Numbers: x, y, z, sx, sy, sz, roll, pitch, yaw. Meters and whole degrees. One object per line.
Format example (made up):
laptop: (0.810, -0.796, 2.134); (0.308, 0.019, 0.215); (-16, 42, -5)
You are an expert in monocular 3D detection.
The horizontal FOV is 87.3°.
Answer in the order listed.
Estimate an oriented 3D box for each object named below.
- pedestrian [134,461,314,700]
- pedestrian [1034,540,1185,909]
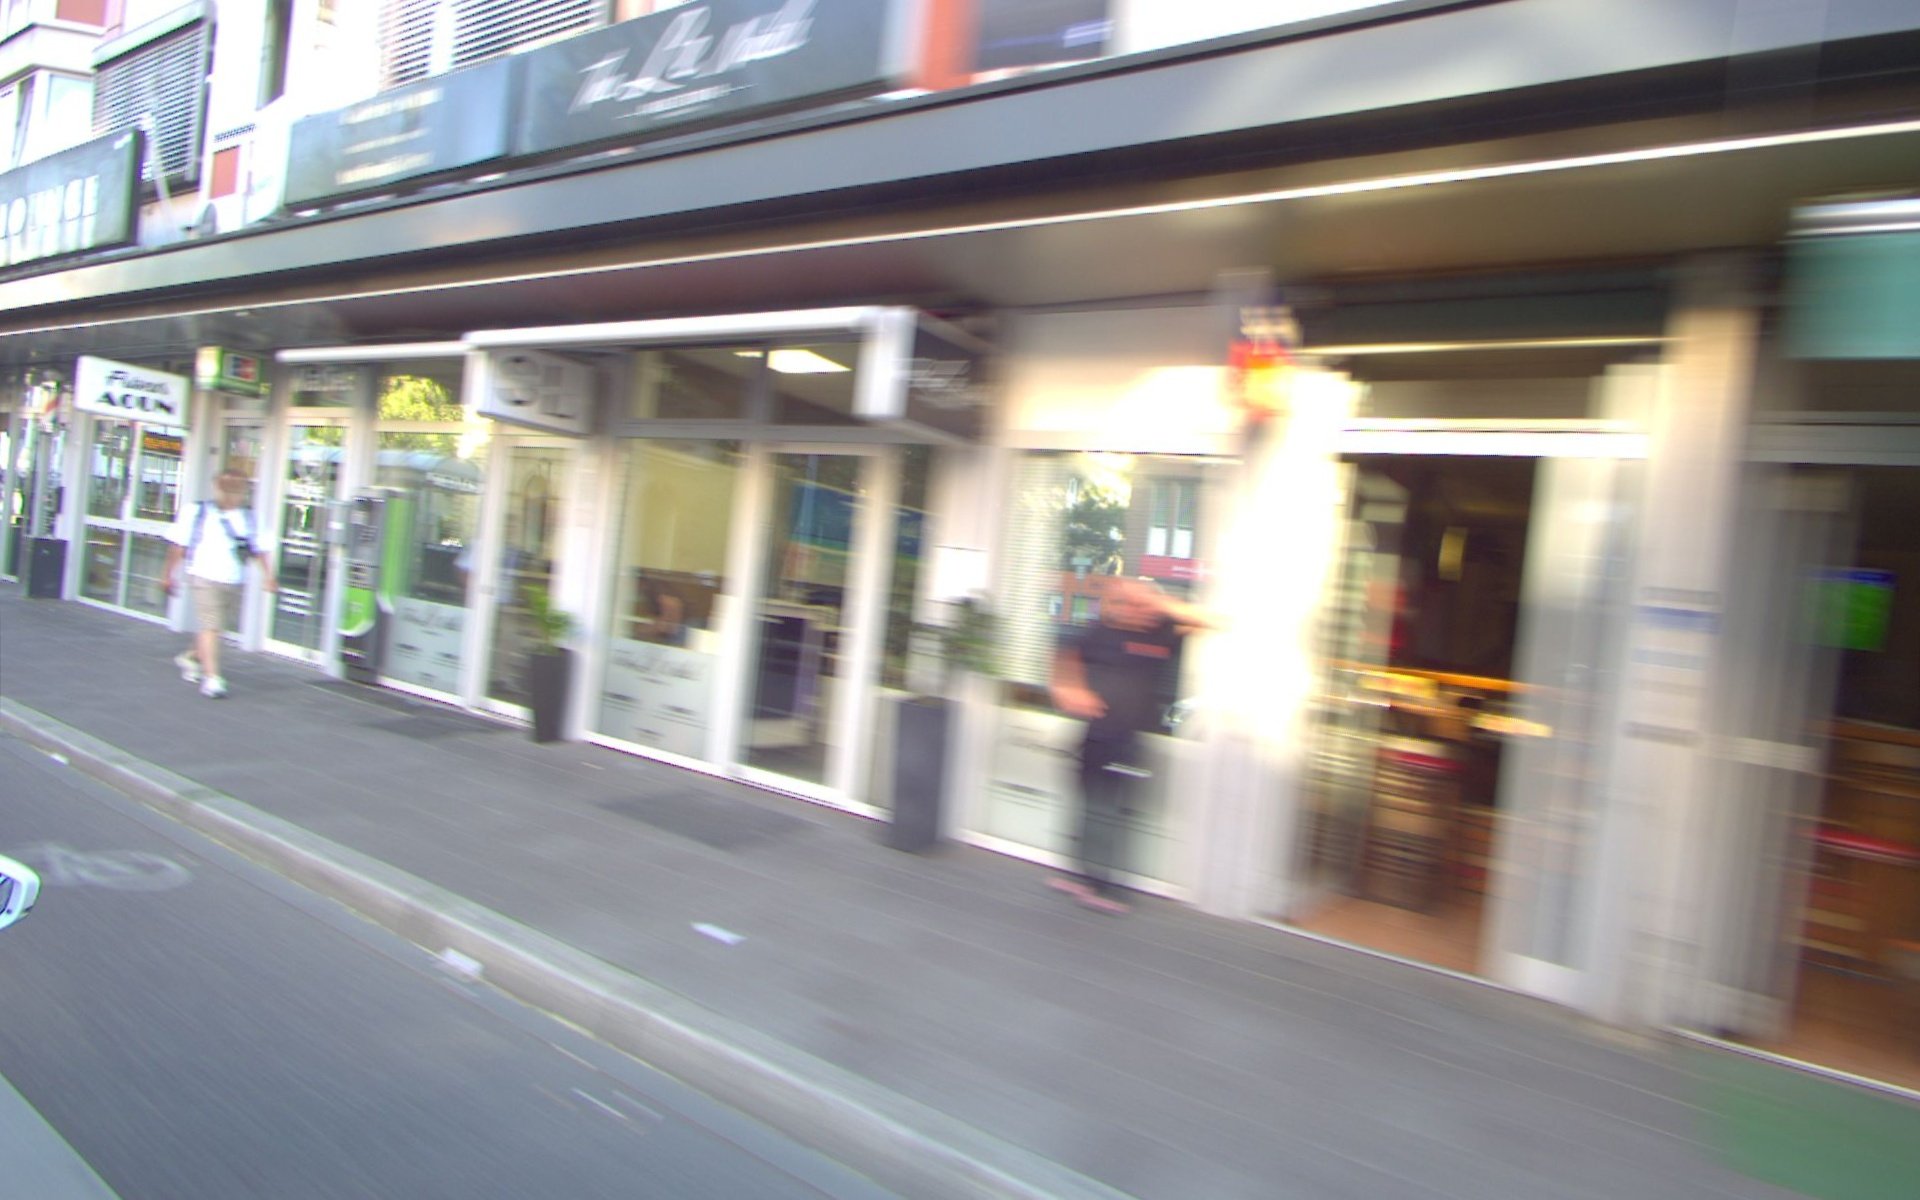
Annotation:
pedestrian: (-5.852, -0.167, 7.998); (1.044, 1.746, 0.797); (6, 3, 33)
pedestrian: (0.754, 0.586, 5.002); (0.460, 1.695, 0.542); (6, 2, 23)
